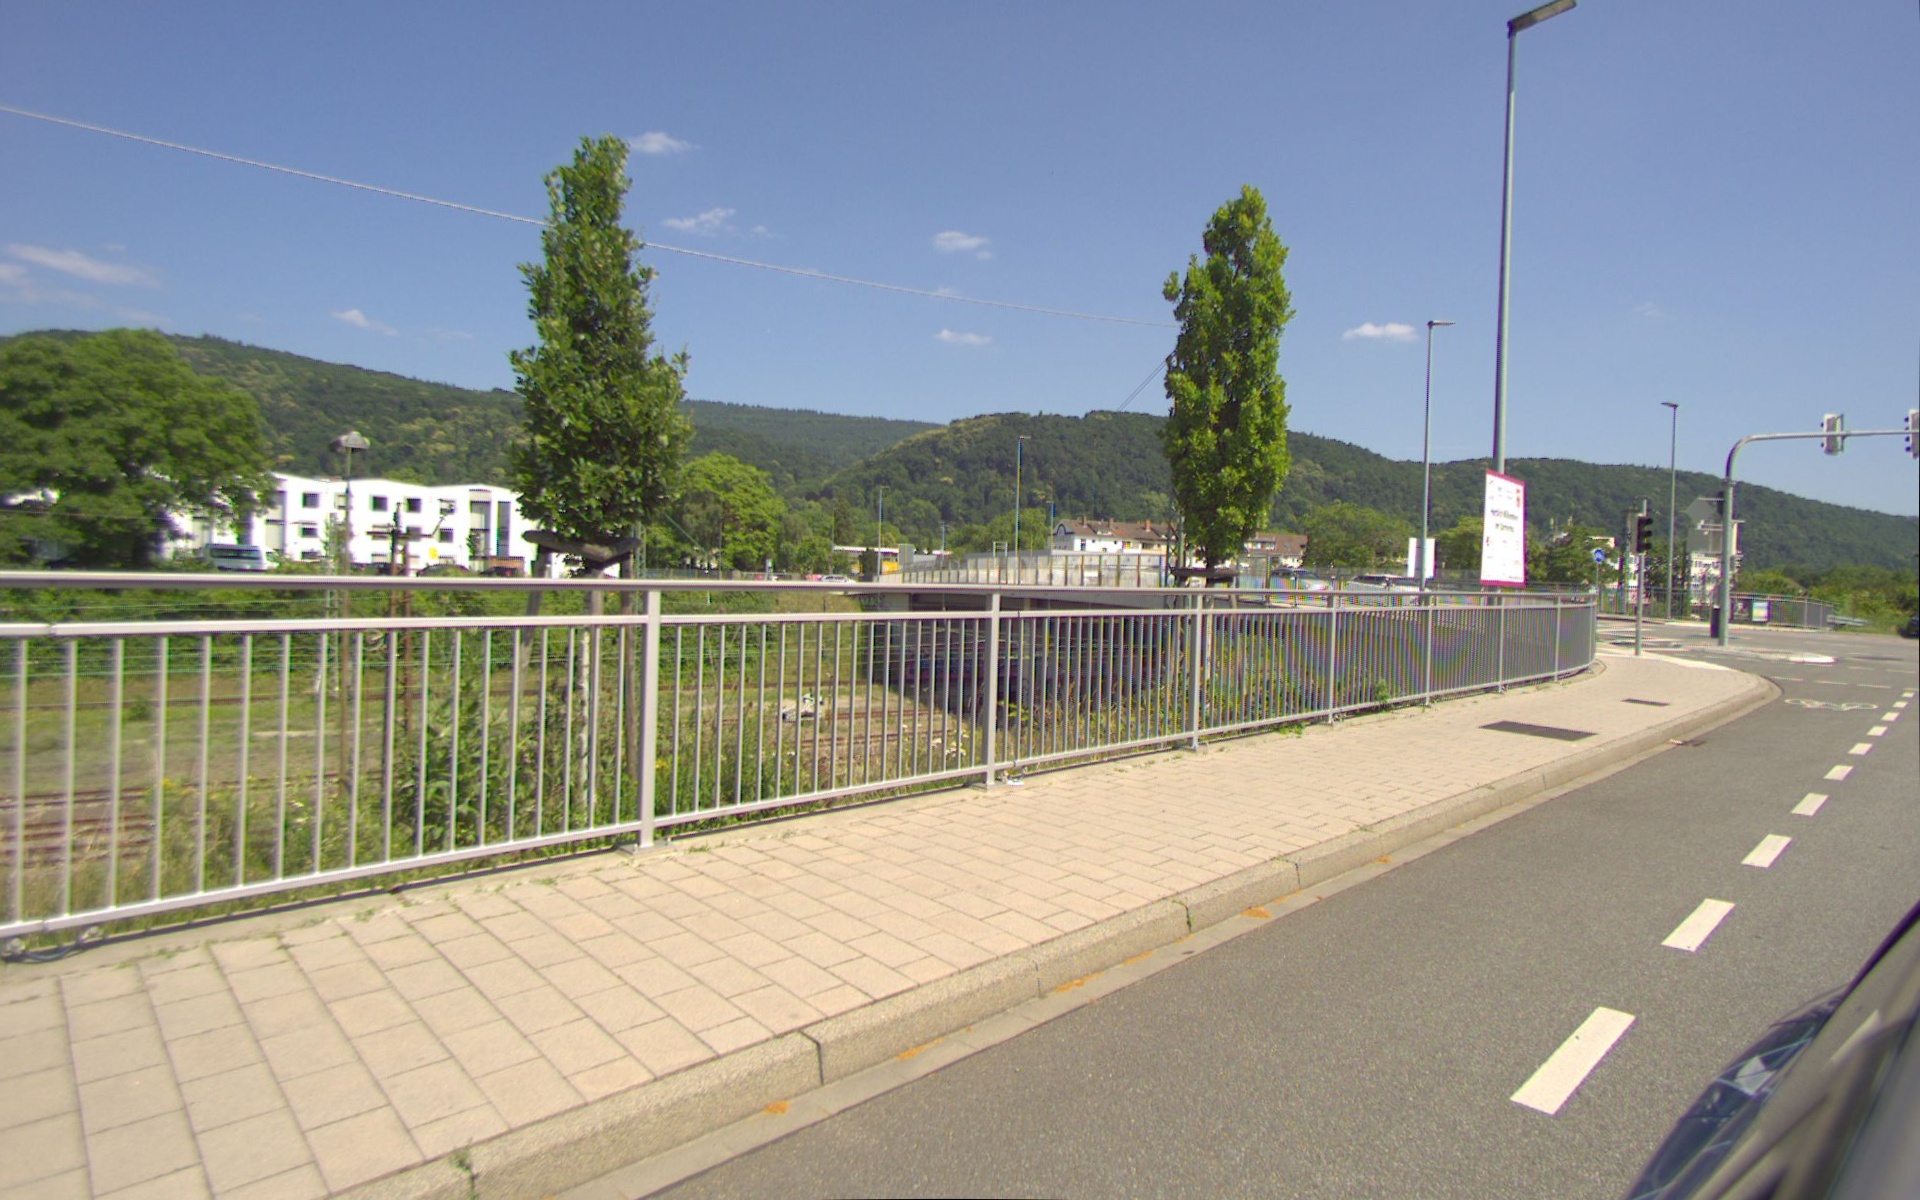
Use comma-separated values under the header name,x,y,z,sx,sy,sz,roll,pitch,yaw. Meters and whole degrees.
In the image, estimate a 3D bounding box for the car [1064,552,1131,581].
name,x,y,z,sx,sy,sz,roll,pitch,yaw
car,8.637,-2.111,63.972,1.958,1.740,4.642,1,2,-25

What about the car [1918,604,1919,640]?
name,x,y,z,sx,sy,sz,roll,pitch,yaw
car,45.778,1.040,46.633,4.160,1.647,1.830,0,2,-39

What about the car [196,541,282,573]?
name,x,y,z,sx,sy,sz,roll,pitch,yaw
car,-51.901,-3.072,72.885,4.901,2.139,1.999,0,2,-39

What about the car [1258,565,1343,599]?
name,x,y,z,sx,sy,sz,roll,pitch,yaw
car,17.392,-0.947,51.906,1.700,1.646,4.453,1,2,-20

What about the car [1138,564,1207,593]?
name,x,y,z,sx,sy,sz,roll,pitch,yaw
car,12.908,-1.352,61.757,1.701,1.646,4.451,1,2,-25

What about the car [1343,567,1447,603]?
name,x,y,z,sx,sy,sz,roll,pitch,yaw
car,19.432,-0.708,45.401,1.700,1.487,4.421,1,2,-20
